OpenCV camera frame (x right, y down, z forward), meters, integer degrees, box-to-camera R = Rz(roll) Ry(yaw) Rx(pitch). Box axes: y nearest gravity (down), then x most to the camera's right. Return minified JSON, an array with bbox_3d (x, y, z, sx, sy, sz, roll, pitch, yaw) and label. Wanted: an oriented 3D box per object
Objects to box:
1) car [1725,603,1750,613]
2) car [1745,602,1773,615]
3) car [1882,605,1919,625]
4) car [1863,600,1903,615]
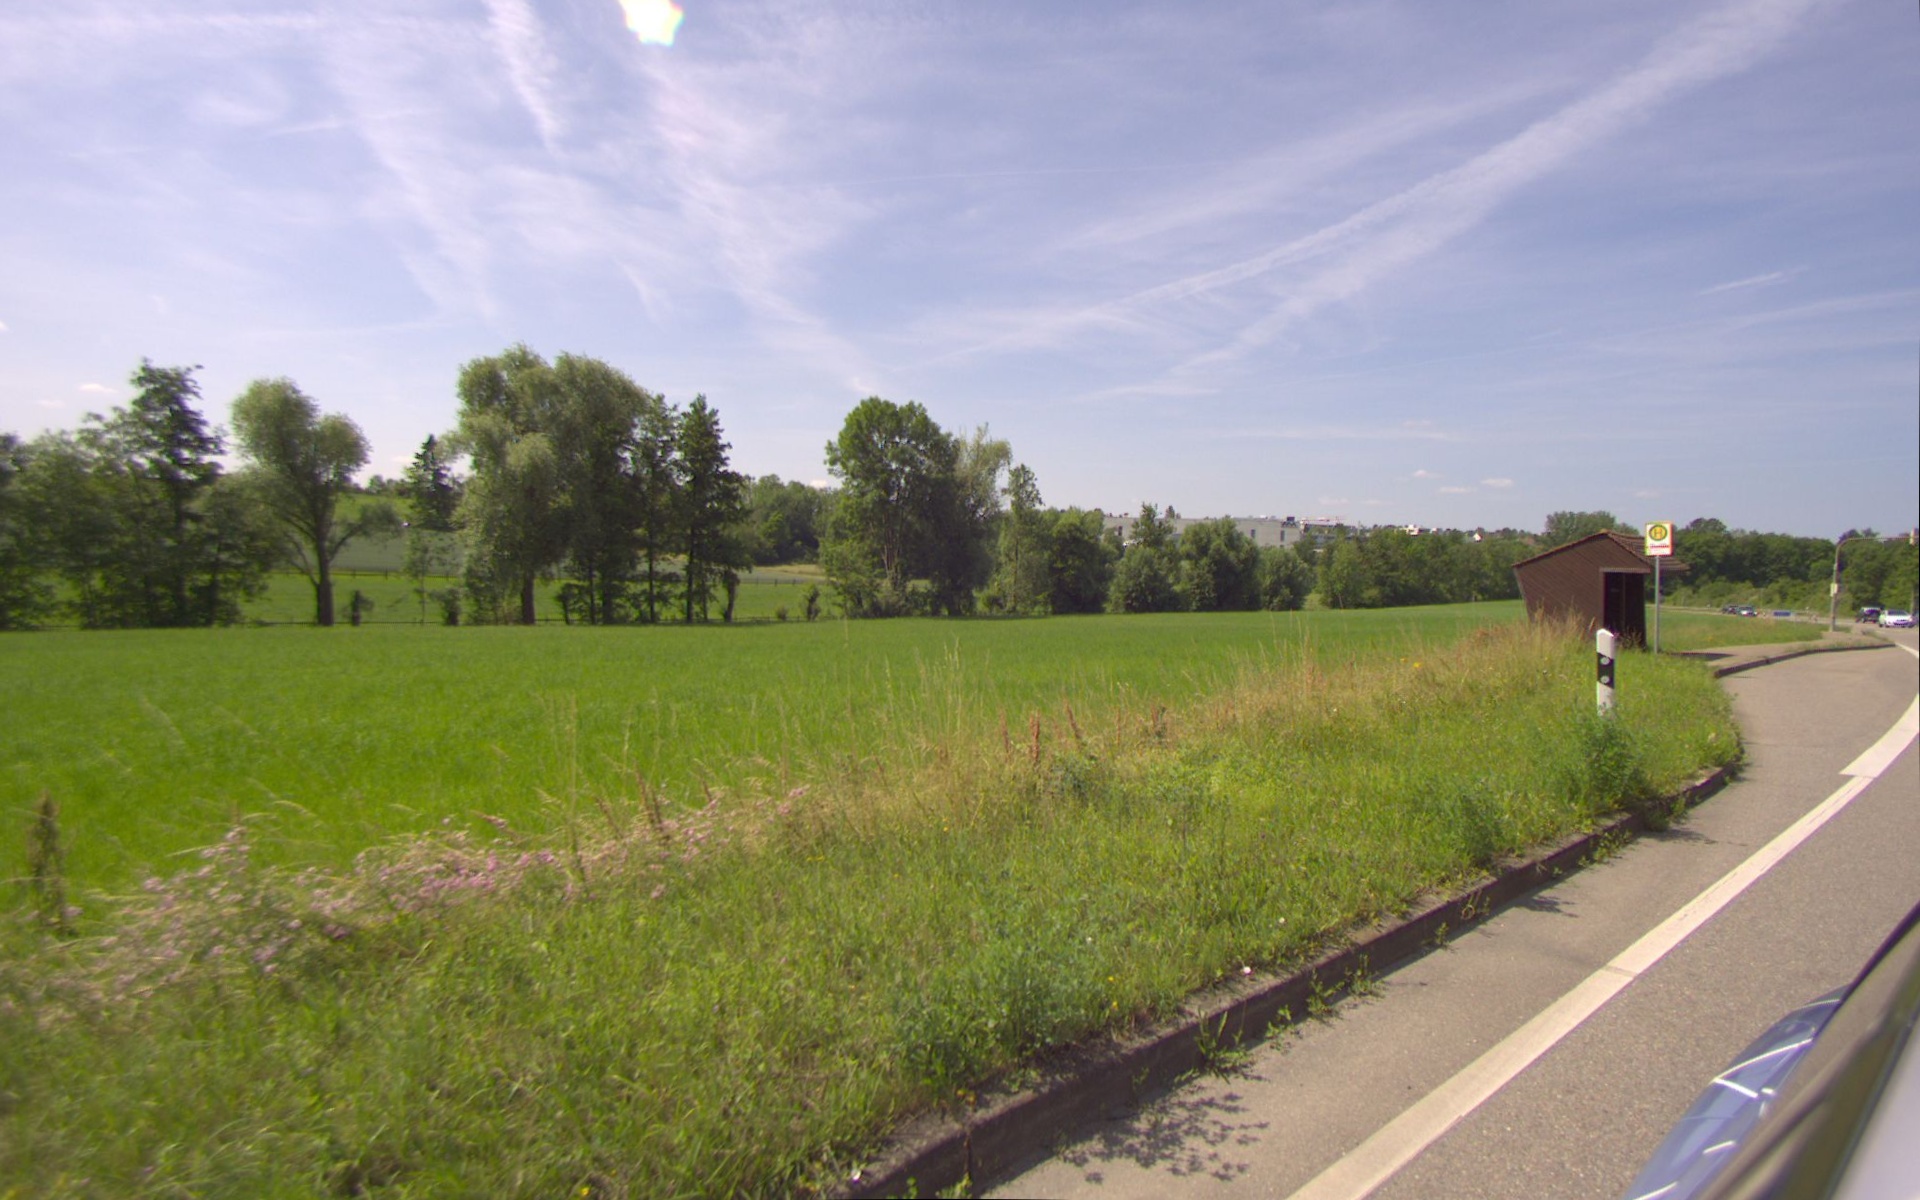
[{"bbox_3d":[119.725,1.213,155.931,1.774,1.493,4.282,0,0,20],"label":"car"},{"bbox_3d":[104.375,1.065,132.246,1.979,1.605,3.966,0,0,25],"label":"car"},{"bbox_3d":[79.357,1.247,85.103,1.985,1.605,3.953,0,0,33],"label":"car"},{"bbox_3d":[96.556,0.782,105.885,1.960,1.582,4.151,0,0,26],"label":"car"}]
